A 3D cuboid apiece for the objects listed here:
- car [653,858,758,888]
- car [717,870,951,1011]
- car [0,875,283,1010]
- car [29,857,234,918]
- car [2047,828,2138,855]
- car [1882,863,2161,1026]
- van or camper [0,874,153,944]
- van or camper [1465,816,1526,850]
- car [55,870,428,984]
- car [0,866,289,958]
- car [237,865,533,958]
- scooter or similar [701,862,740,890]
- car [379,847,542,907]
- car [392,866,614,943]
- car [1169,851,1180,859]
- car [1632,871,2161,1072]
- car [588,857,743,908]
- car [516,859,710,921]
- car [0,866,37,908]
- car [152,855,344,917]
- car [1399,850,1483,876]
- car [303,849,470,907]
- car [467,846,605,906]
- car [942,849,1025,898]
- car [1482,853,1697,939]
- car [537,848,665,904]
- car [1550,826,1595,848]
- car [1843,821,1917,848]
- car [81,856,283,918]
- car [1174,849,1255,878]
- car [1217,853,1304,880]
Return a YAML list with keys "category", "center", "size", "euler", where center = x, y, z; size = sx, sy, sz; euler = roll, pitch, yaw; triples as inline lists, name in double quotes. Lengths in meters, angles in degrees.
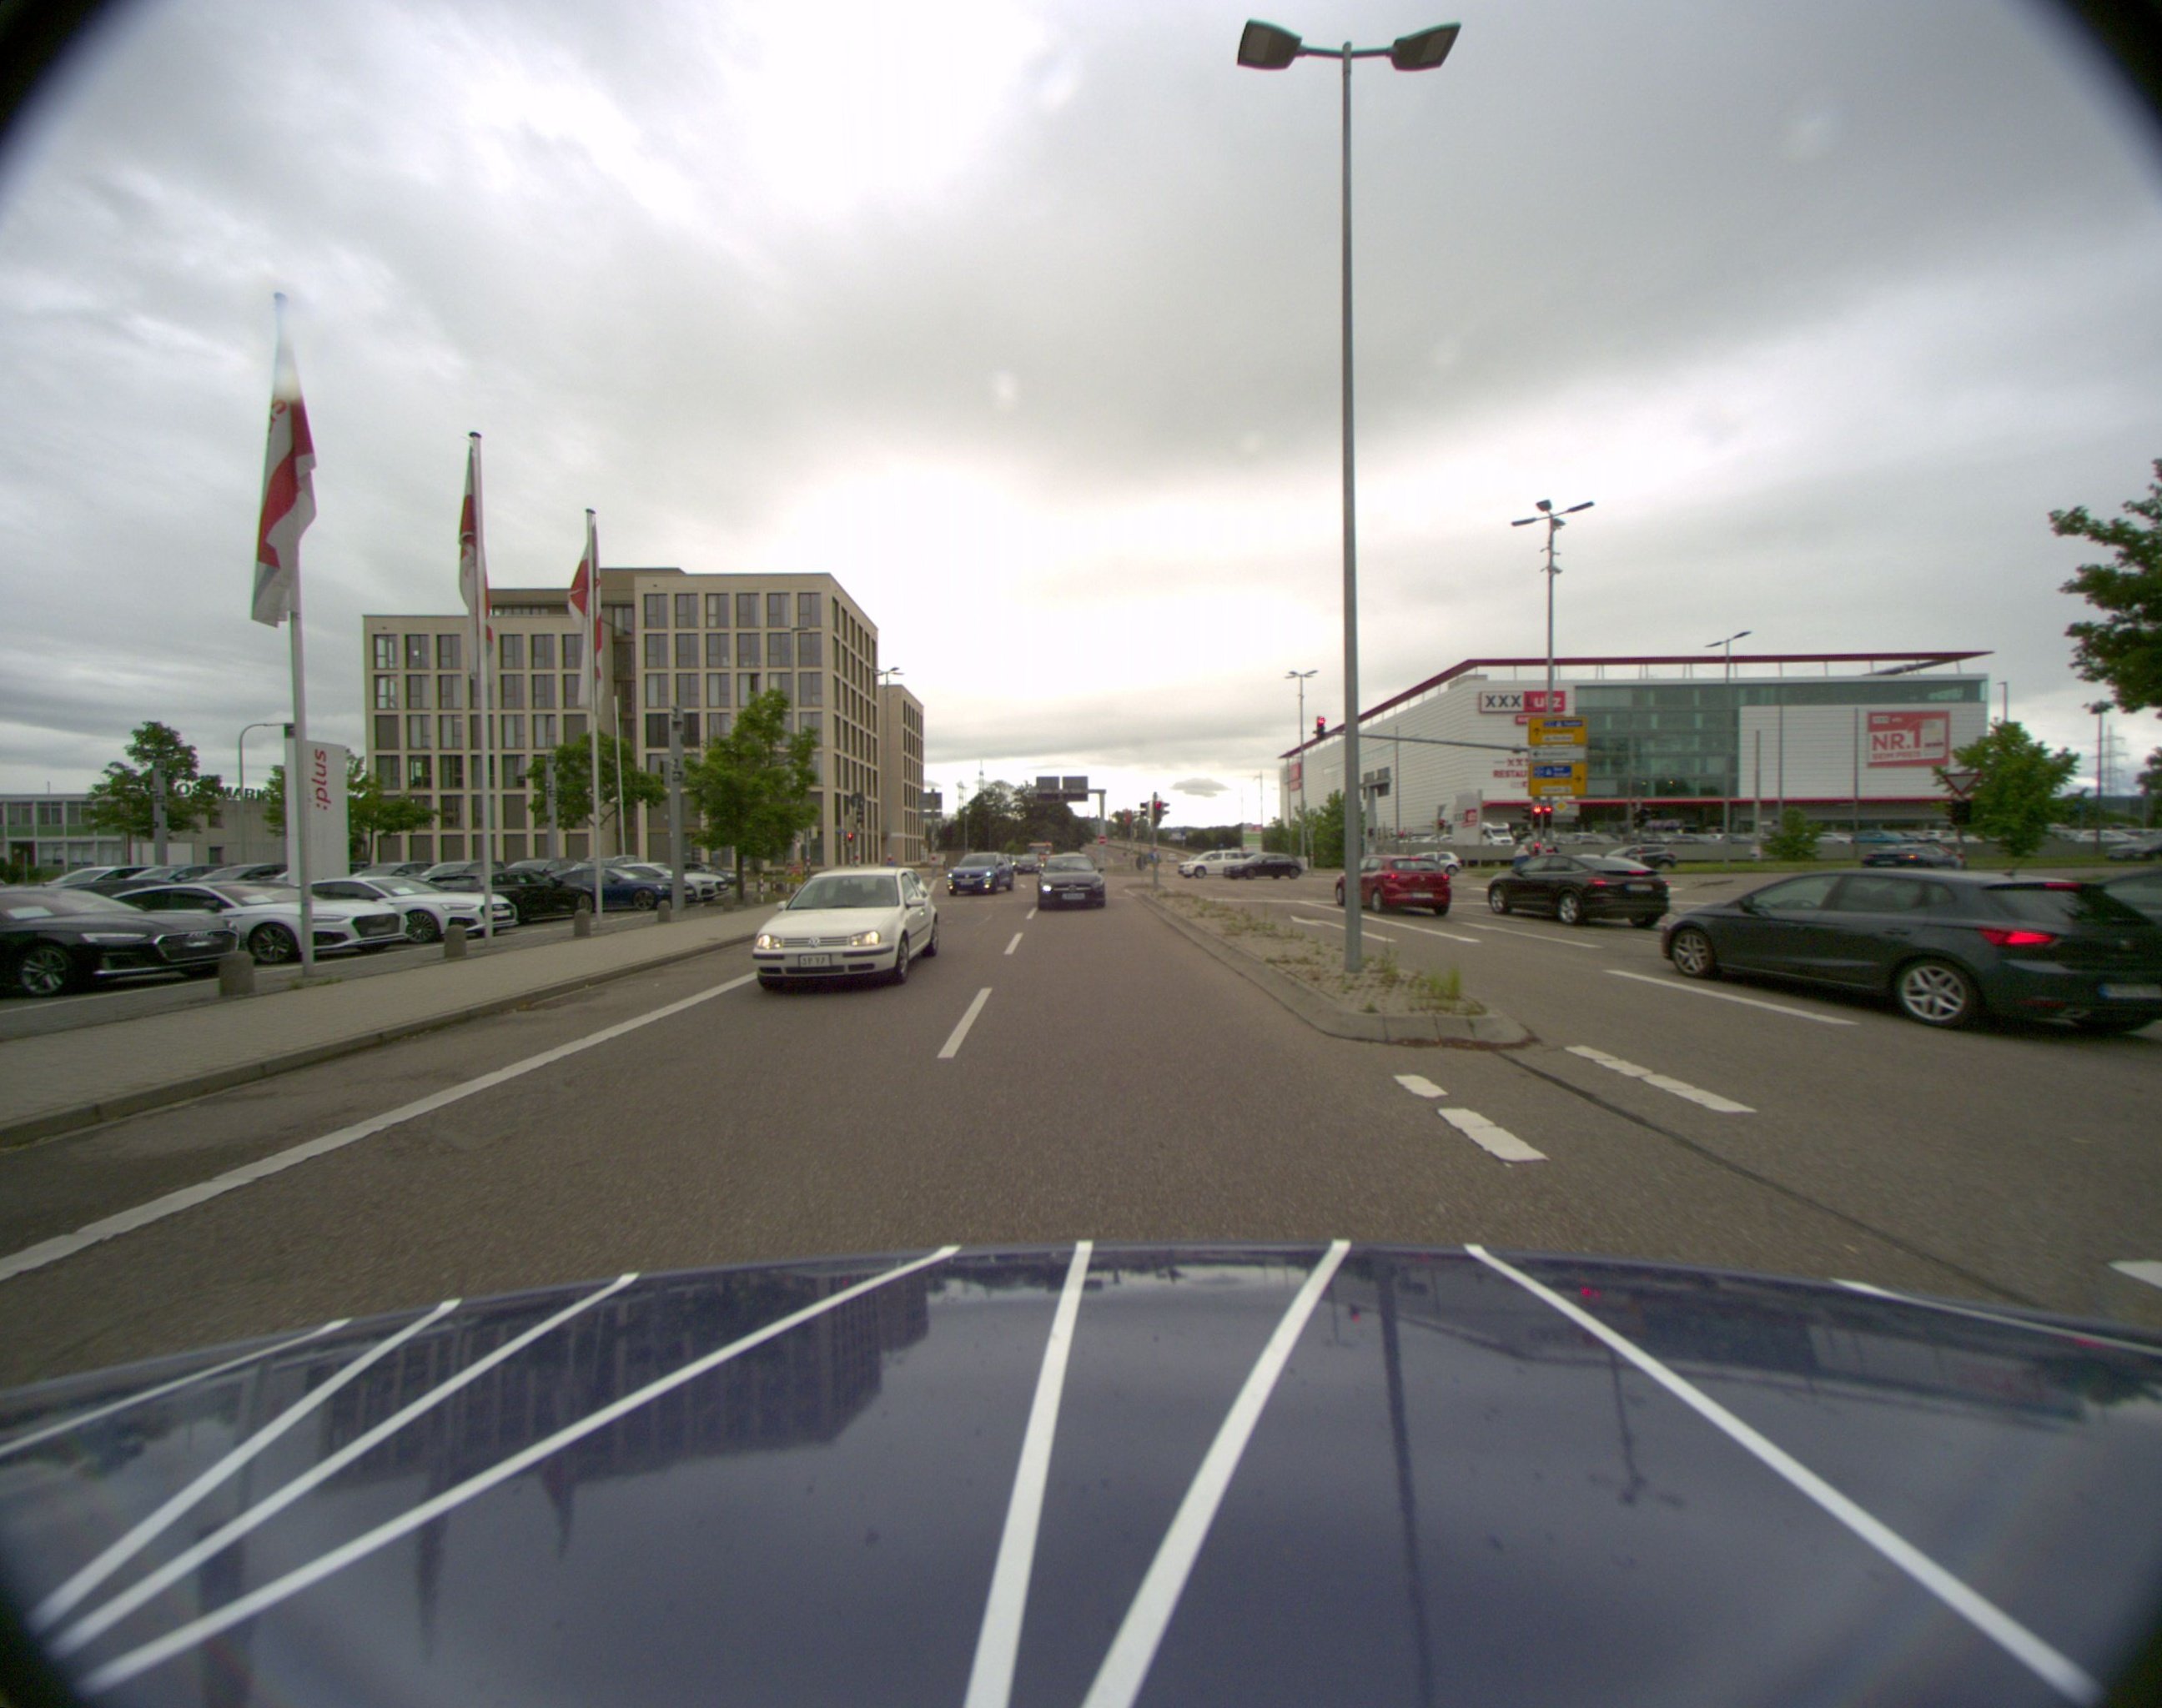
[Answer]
- category: "car"
  center: [-19.974, 0.997, 40.521]
  size: [4.609, 1.542, 1.985]
  euler: [-1, 0, 4]
- category: "car"
  center: [-3.083, 1.000, 10.439]
  size: [1.837, 1.469, 4.005]
  euler: [-2, 0, 0]
- category: "car"
  center: [-13.698, 1.170, 10.047]
  size: [4.229, 1.477, 1.871]
  euler: [-4, 1, 0]
- category: "car"
  center: [-37.751, 1.240, 30.486]
  size: [1.999, 2.002, 4.906]
  euler: [-2, 2, -1]
- category: "car"
  center: [86.026, -1.026, 64.722]
  size: [1.998, 2.001, 4.328]
  euler: [-2, -1, 1]
- category: "car"
  center: [11.652, 0.951, 7.785]
  size: [1.885, 1.536, 4.596]
  euler: [1, 1, -2]
- category: "van or camper"
  center: [-26.907, 1.368, 19.204]
  size: [1.999, 1.667, 4.001]
  euler: [-2, -1, -1]
- category: "van or camper"
  center: [43.513, -2.157, 79.965]
  size: [2.712, 3.116, 7.239]
  euler: [-2, -1, 3]
- category: "car"
  center: [-13.808, 1.152, 12.711]
  size: [4.041, 1.477, 1.877]
  euler: [-4, 1, 0]
- category: "car"
  center: [-23.787, 1.341, 19.391]
  size: [1.998, 1.928, 4.817]
  euler: [-1, 1, 1]
- category: "car"
  center: [-13.921, 1.118, 15.387]
  size: [4.195, 1.477, 1.852]
  euler: [-4, 1, 0]
- category: "scooter or similar"
  center: [-15.765, 0.965, 33.198]
  size: [1.557, 1.211, 0.560]
  euler: [-1, -2, 17]
- category: "car"
  center: [-24.221, 0.796, 30.007]
  size: [2.264, 2.002, 5.036]
  euler: [-2, 2, -1]
- category: "car"
  center: [-14.316, 1.155, 19.288]
  size: [1.891, 1.477, 4.754]
  euler: [-4, 1, 0]
- category: "car"
  center: [17.534, 0.245, 142.314]
  size: [1.832, 1.401, 4.201]
  euler: [-3, -2, 7]
- category: "car"
  center: [8.369, 0.969, 8.037]
  size: [1.862, 1.453, 4.331]
  euler: [1, 0, -1]
- category: "car"
  center: [-14.210, 0.945, 26.168]
  size: [4.226, 1.477, 1.874]
  euler: [-3, 1, 0]
- category: "car"
  center: [-14.187, 1.054, 23.280]
  size: [4.514, 1.478, 2.069]
  euler: [-4, 2, -2]
- category: "car"
  center: [-44.795, 1.390, 31.063]
  size: [4.433, 1.649, 1.926]
  euler: [-1, 2, 43]
- category: "car"
  center: [-32.183, 1.142, 29.648]
  size: [1.999, 2.002, 4.906]
  euler: [-2, 2, -1]
- category: "car"
  center: [21.663, 0.561, 45.842]
  size: [4.215, 1.407, 1.803]
  euler: [-2, -1, 3]
- category: "car"
  center: [-26.870, 0.850, 29.710]
  size: [2.053, 1.866, 4.959]
  euler: [-2, 2, -3]
- category: "car"
  center: [-21.218, 0.773, 29.885]
  size: [1.999, 2.002, 4.714]
  euler: [-2, 2, -1]
- category: "car"
  center: [-3.654, 0.689, 29.316]
  size: [1.845, 1.613, 4.334]
  euler: [-2, 1, 11]
- category: "car"
  center: [11.486, 0.845, 17.612]
  size: [1.885, 1.628, 4.332]
  euler: [2, 1, -2]
- category: "car"
  center: [-18.647, 0.781, 29.867]
  size: [1.999, 1.852, 4.785]
  euler: [-2, 2, -1]
- category: "car"
  center: [47.874, -1.622, 74.080]
  size: [1.868, 1.936, 3.870]
  euler: [-2, -1, 1]
- category: "car"
  center: [67.616, -1.596, 64.375]
  size: [1.998, 2.001, 4.001]
  euler: [-2, -1, 1]
- category: "car"
  center: [-34.897, 1.189, 29.777]
  size: [1.999, 2.002, 4.906]
  euler: [-2, 2, -1]
- category: "car"
  center: [7.899, 0.570, 44.978]
  size: [4.377, 1.615, 1.798]
  euler: [-1, -1, -17]
- category: "car"
  center: [9.710, 0.682, 41.173]
  size: [4.262, 1.370, 1.766]
  euler: [-1, -1, -19]
